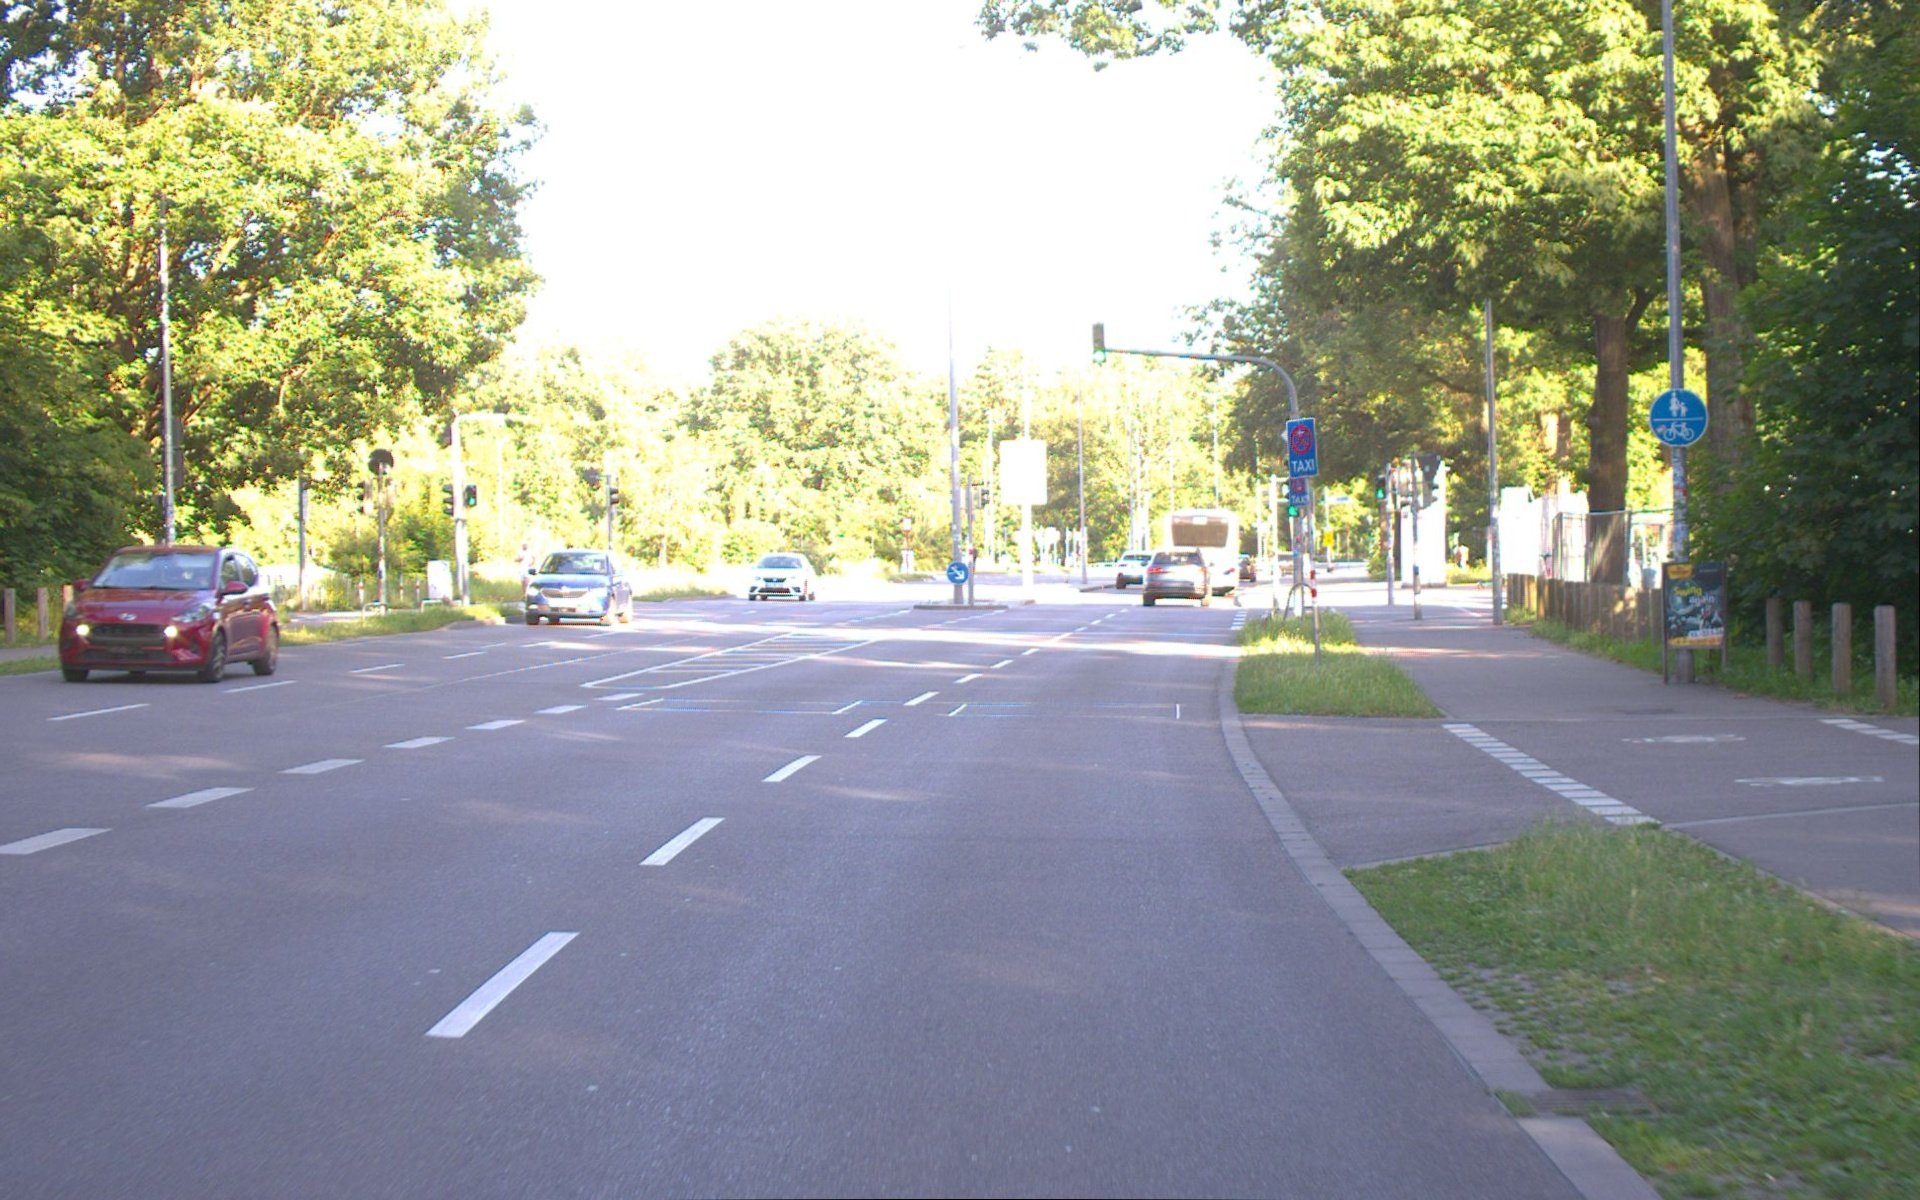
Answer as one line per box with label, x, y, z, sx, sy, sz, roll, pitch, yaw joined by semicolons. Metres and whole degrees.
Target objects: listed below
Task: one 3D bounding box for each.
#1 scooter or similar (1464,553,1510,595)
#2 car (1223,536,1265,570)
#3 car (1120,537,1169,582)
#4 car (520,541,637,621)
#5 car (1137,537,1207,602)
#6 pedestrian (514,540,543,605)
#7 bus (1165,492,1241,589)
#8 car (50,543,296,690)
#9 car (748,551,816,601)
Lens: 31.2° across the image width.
scooter or similar;15.977;-0.788;104.192;0.569;1.252;1.596;0;1;44
car;14.548;-2.425;176.143;1.863;1.678;3.771;-1;1;9
car;7.575;-1.676;140.650;1.880;1.759;4.000;-1;1;5
car;-7.486;-0.396;67.815;1.655;1.503;4.000;-1;1;3
car;5.972;-0.873;96.529;1.880;1.759;4.000;-1;1;5
pedestrian;-12.861;-0.820;102.381;0.612;1.903;1.106;-1;0;5
bus;8.768;-2.156;123.705;2.605;3.357;7.974;0;1;4
car;-8.650;0.146;38.086;1.663;1.513;3.807;-1;1;3
car;-5.416;-0.755;104.974;1.711;1.459;4.100;1;1;2
